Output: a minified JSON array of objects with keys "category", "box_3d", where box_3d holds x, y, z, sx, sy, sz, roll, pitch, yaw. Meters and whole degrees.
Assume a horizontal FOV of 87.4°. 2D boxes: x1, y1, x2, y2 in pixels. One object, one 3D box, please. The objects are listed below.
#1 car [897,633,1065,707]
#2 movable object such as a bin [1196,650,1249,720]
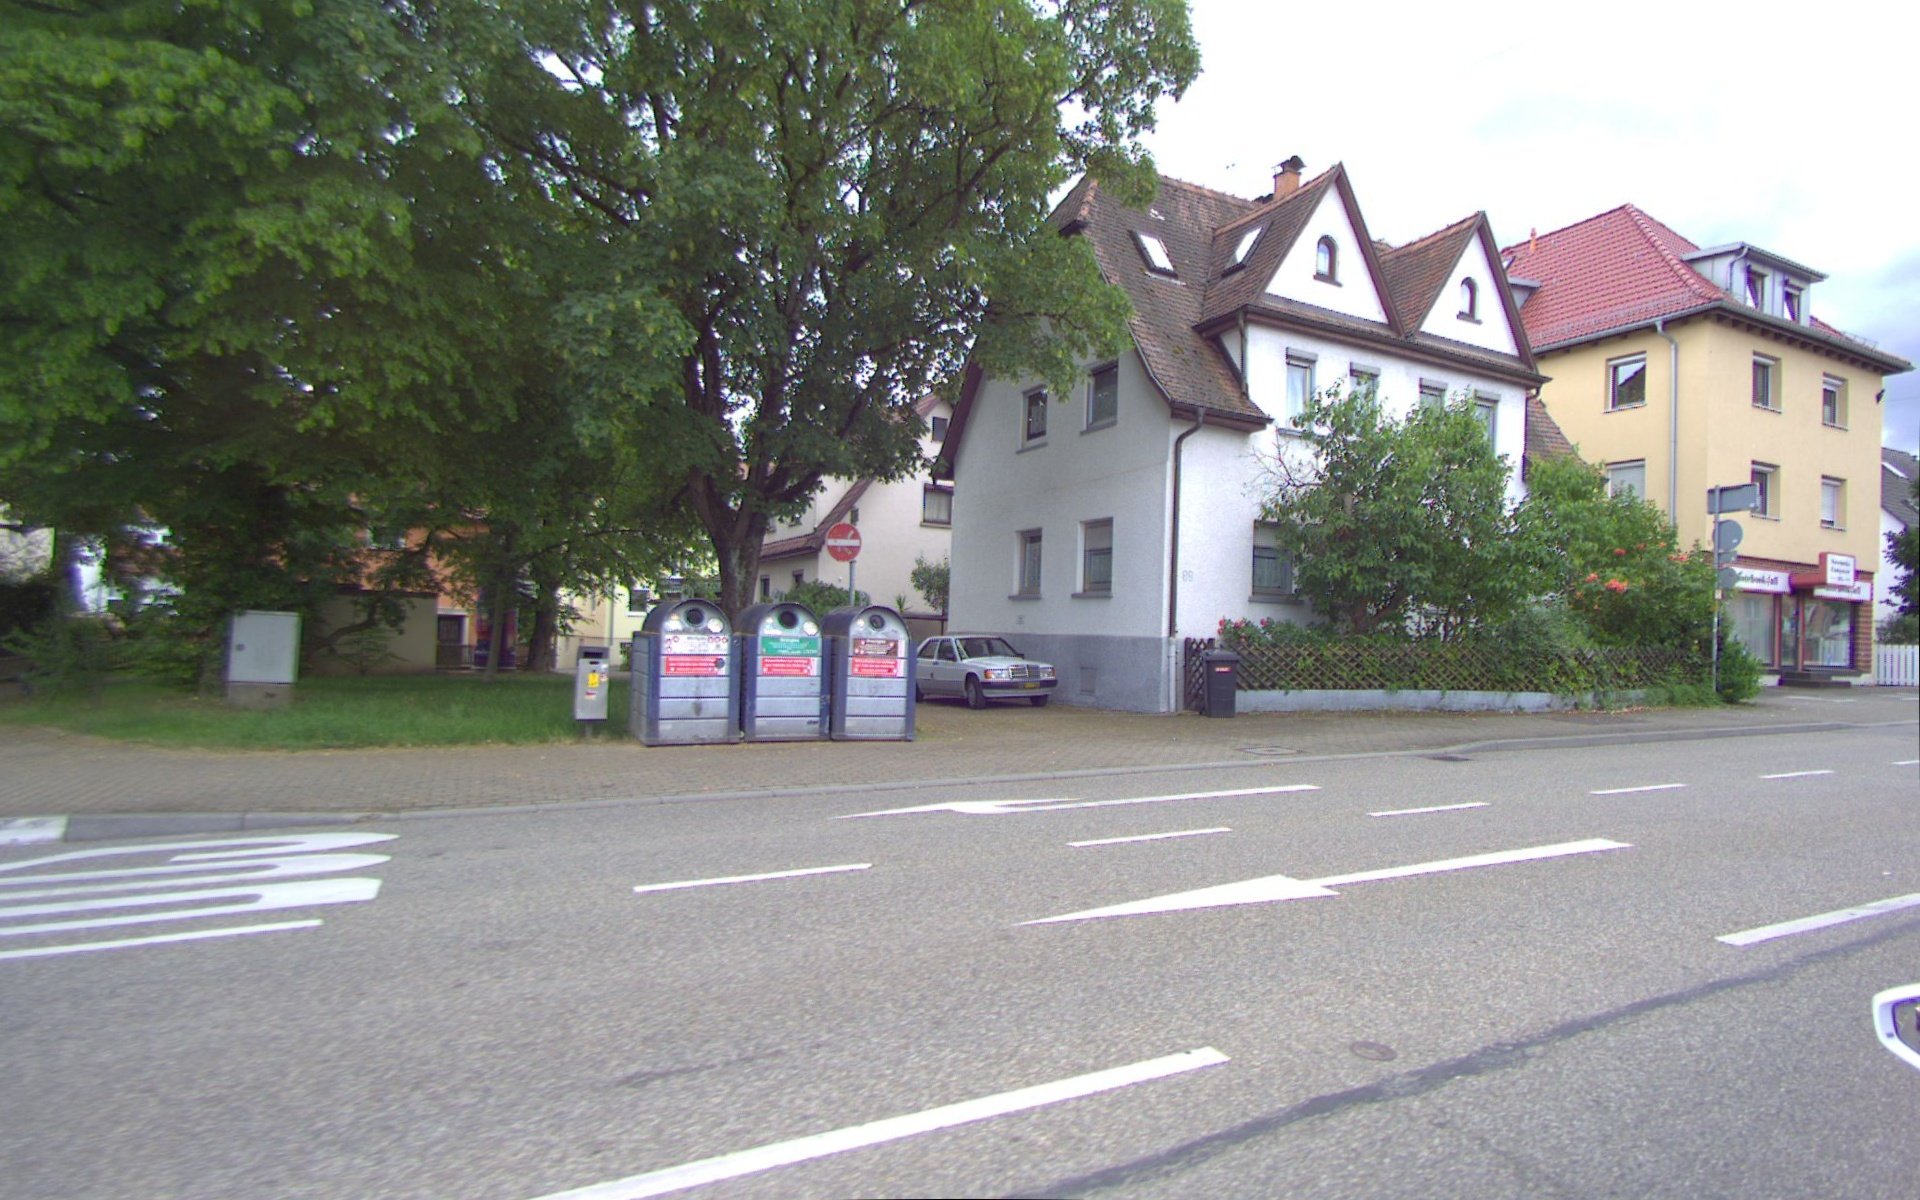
[{"category":"car","box_3d":[0.311,1.408,20.391,1.701,1.349,3.972,3,-4,-28]},{"category":"movable object such as a bin","box_3d":[4.195,1.344,16.107,0.708,1.033,0.720,1,2,6]}]
